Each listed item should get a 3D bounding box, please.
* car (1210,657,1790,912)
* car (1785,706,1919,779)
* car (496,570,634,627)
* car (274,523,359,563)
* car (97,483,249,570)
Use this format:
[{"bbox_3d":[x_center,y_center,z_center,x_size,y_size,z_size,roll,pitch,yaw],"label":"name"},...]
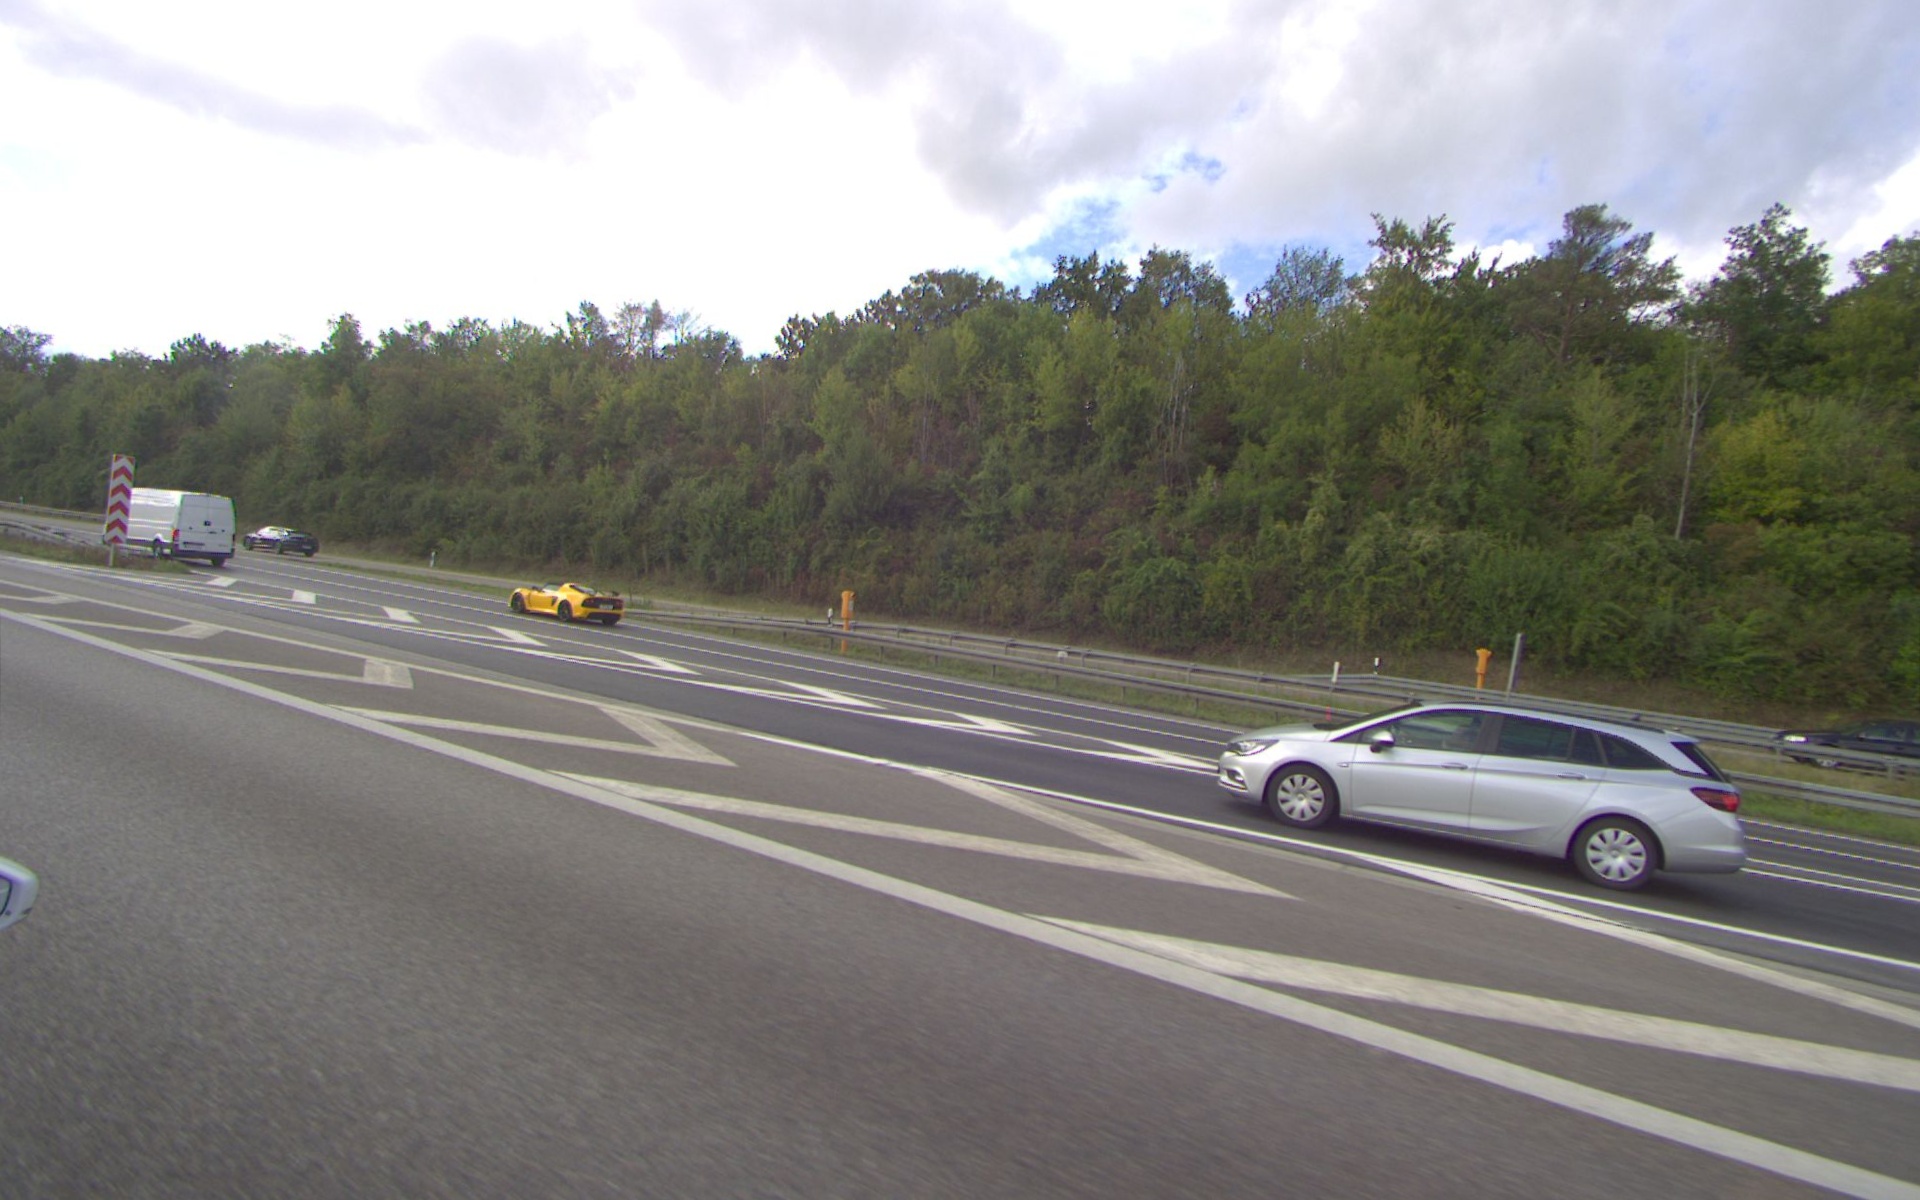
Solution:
[{"bbox_3d":[4.976,1.621,9.922,4.533,1.503,1.688,7,-1,24],"label":"car"},{"bbox_3d":[24.094,3.761,25.829,4.095,1.433,1.715,7,0,27],"label":"car"},{"bbox_3d":[-12.156,-0.057,30.908,4.099,1.196,1.715,7,-1,31],"label":"car"},{"bbox_3d":[-34.119,-3.047,53.312,4.684,1.623,1.844,7,1,31],"label":"car"},{"bbox_3d":[-29.396,-2.787,37.493,6.630,2.586,2.072,7,1,31],"label":"car"}]
